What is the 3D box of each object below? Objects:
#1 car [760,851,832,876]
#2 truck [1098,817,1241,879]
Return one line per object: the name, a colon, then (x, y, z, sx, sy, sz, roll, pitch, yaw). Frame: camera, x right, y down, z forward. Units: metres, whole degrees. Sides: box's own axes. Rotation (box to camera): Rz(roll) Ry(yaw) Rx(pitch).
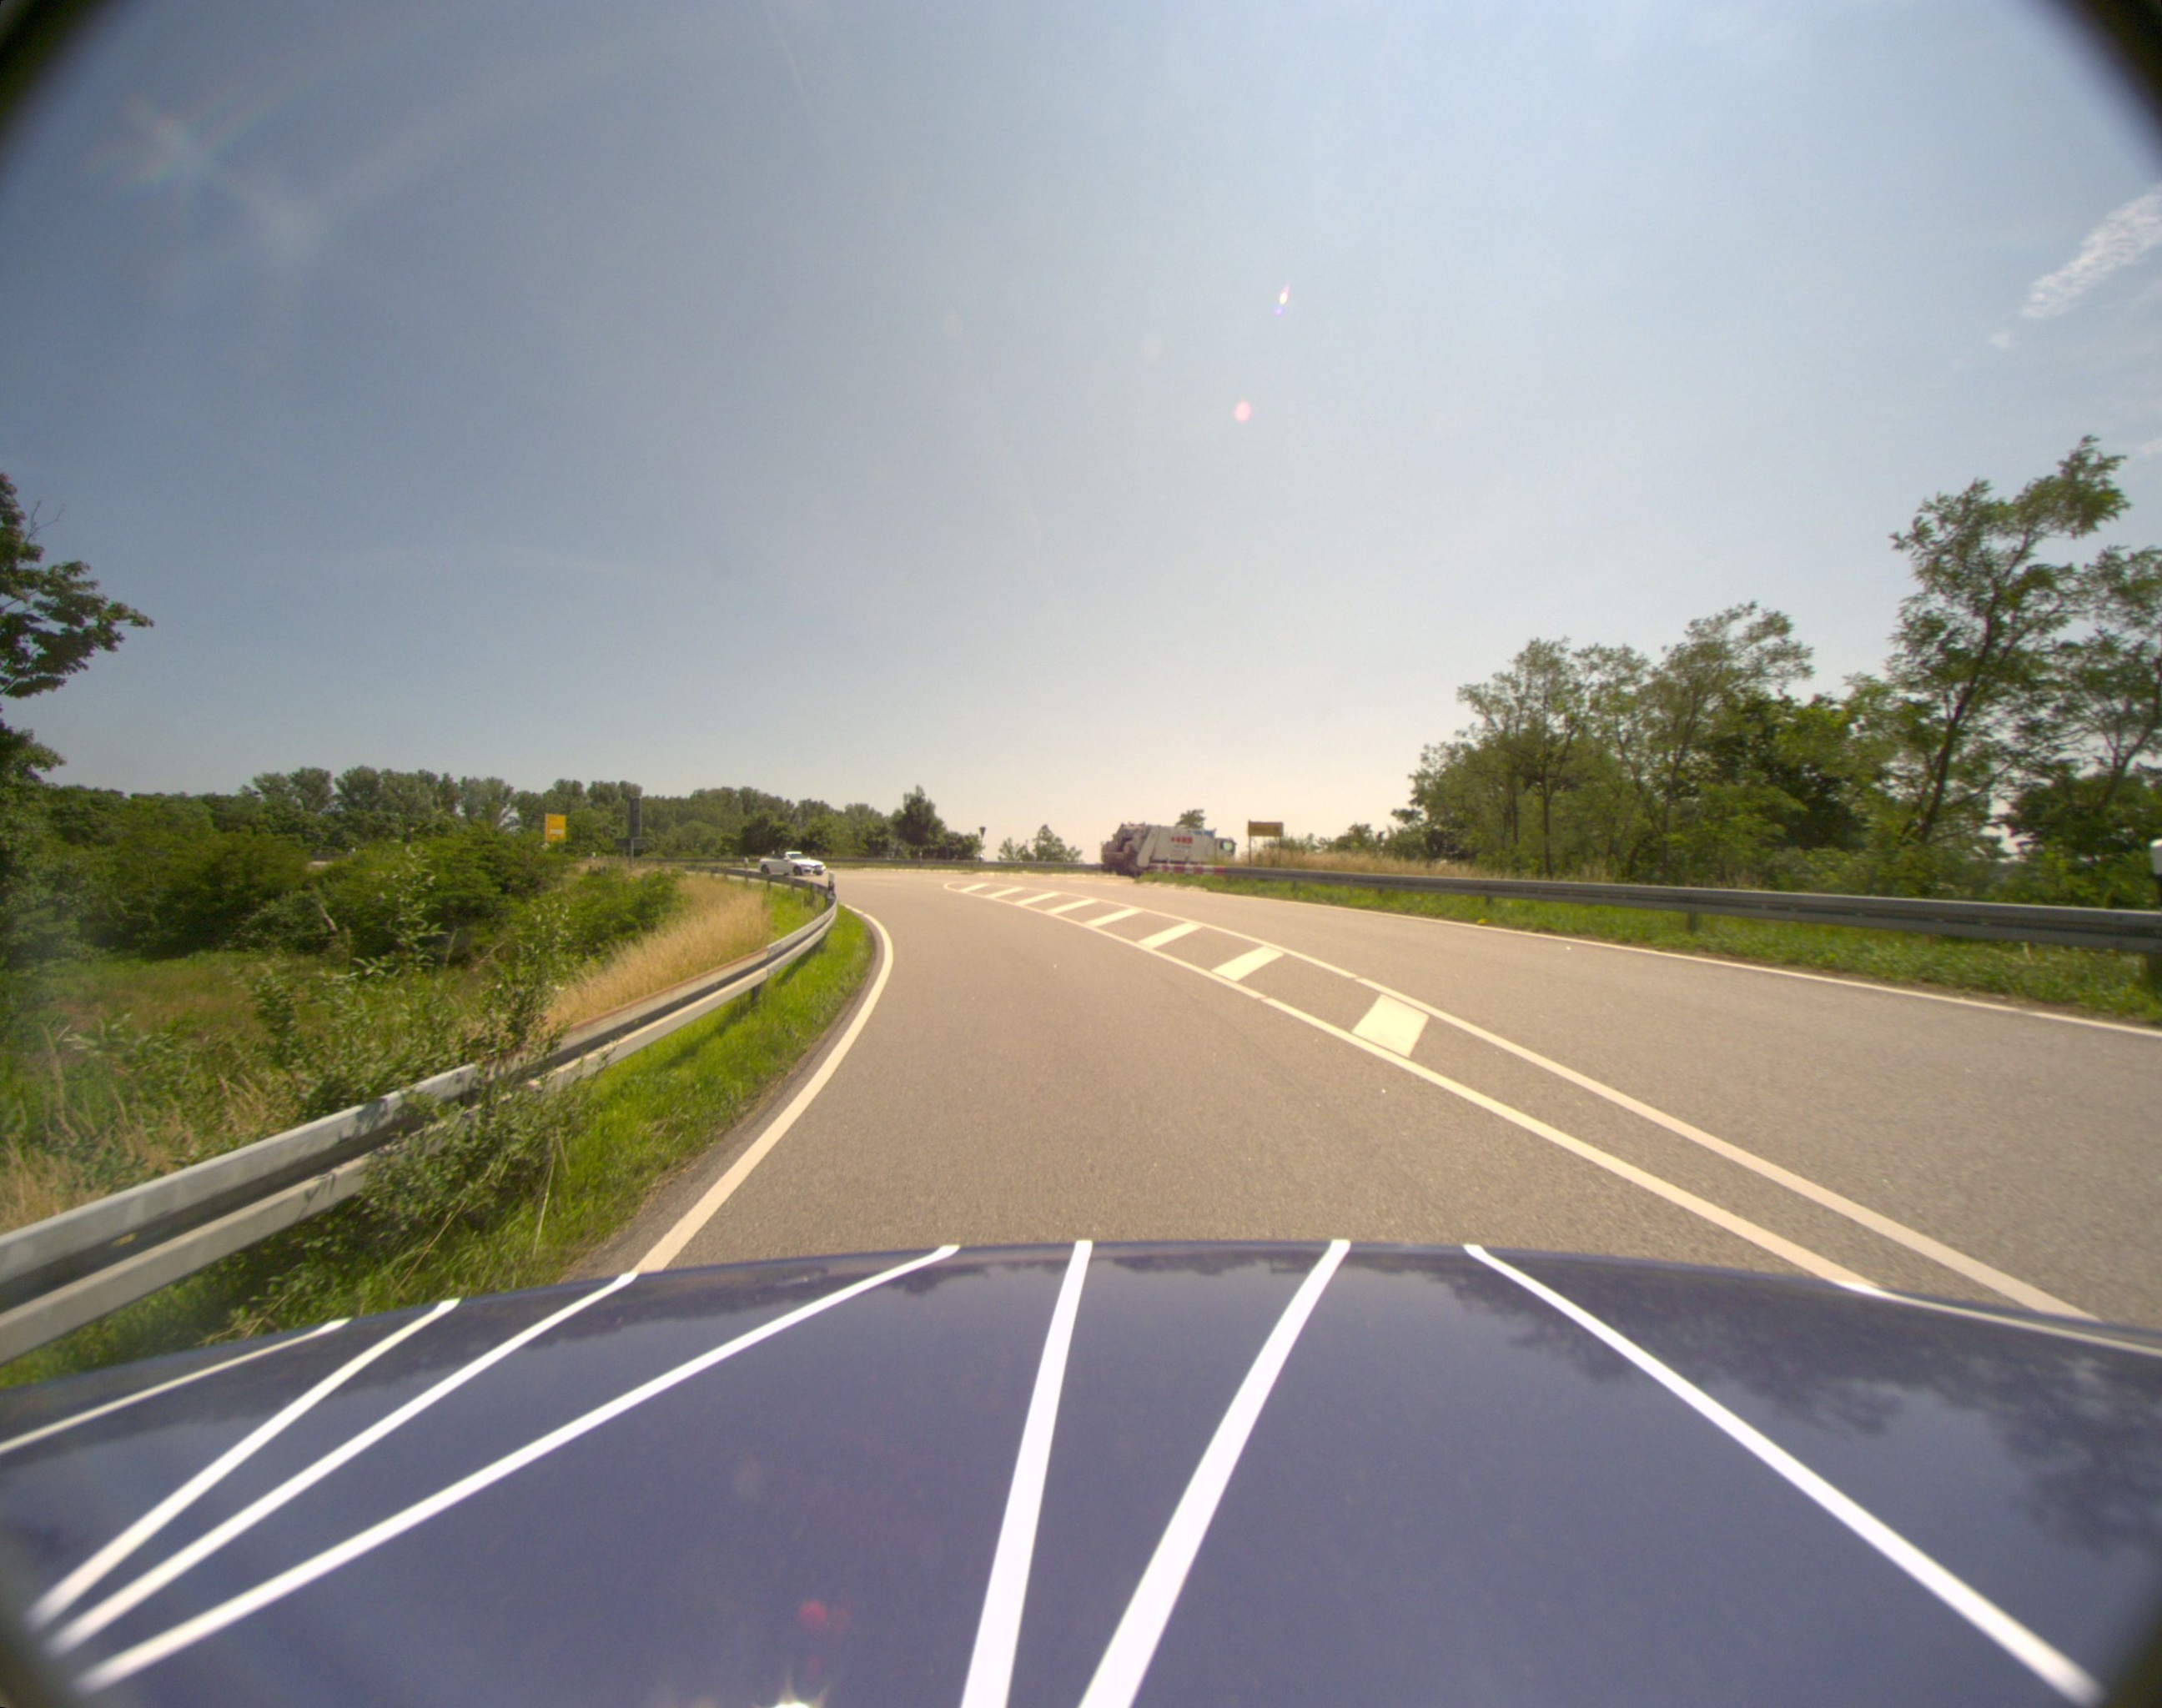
car: (-17.510, 0.562, 46.698, 4.099, 1.407, 1.817, -1, 1, 28)
truck: (6.091, -0.327, 50.871, 9.968, 3.648, 2.814, 3, 0, -34)
